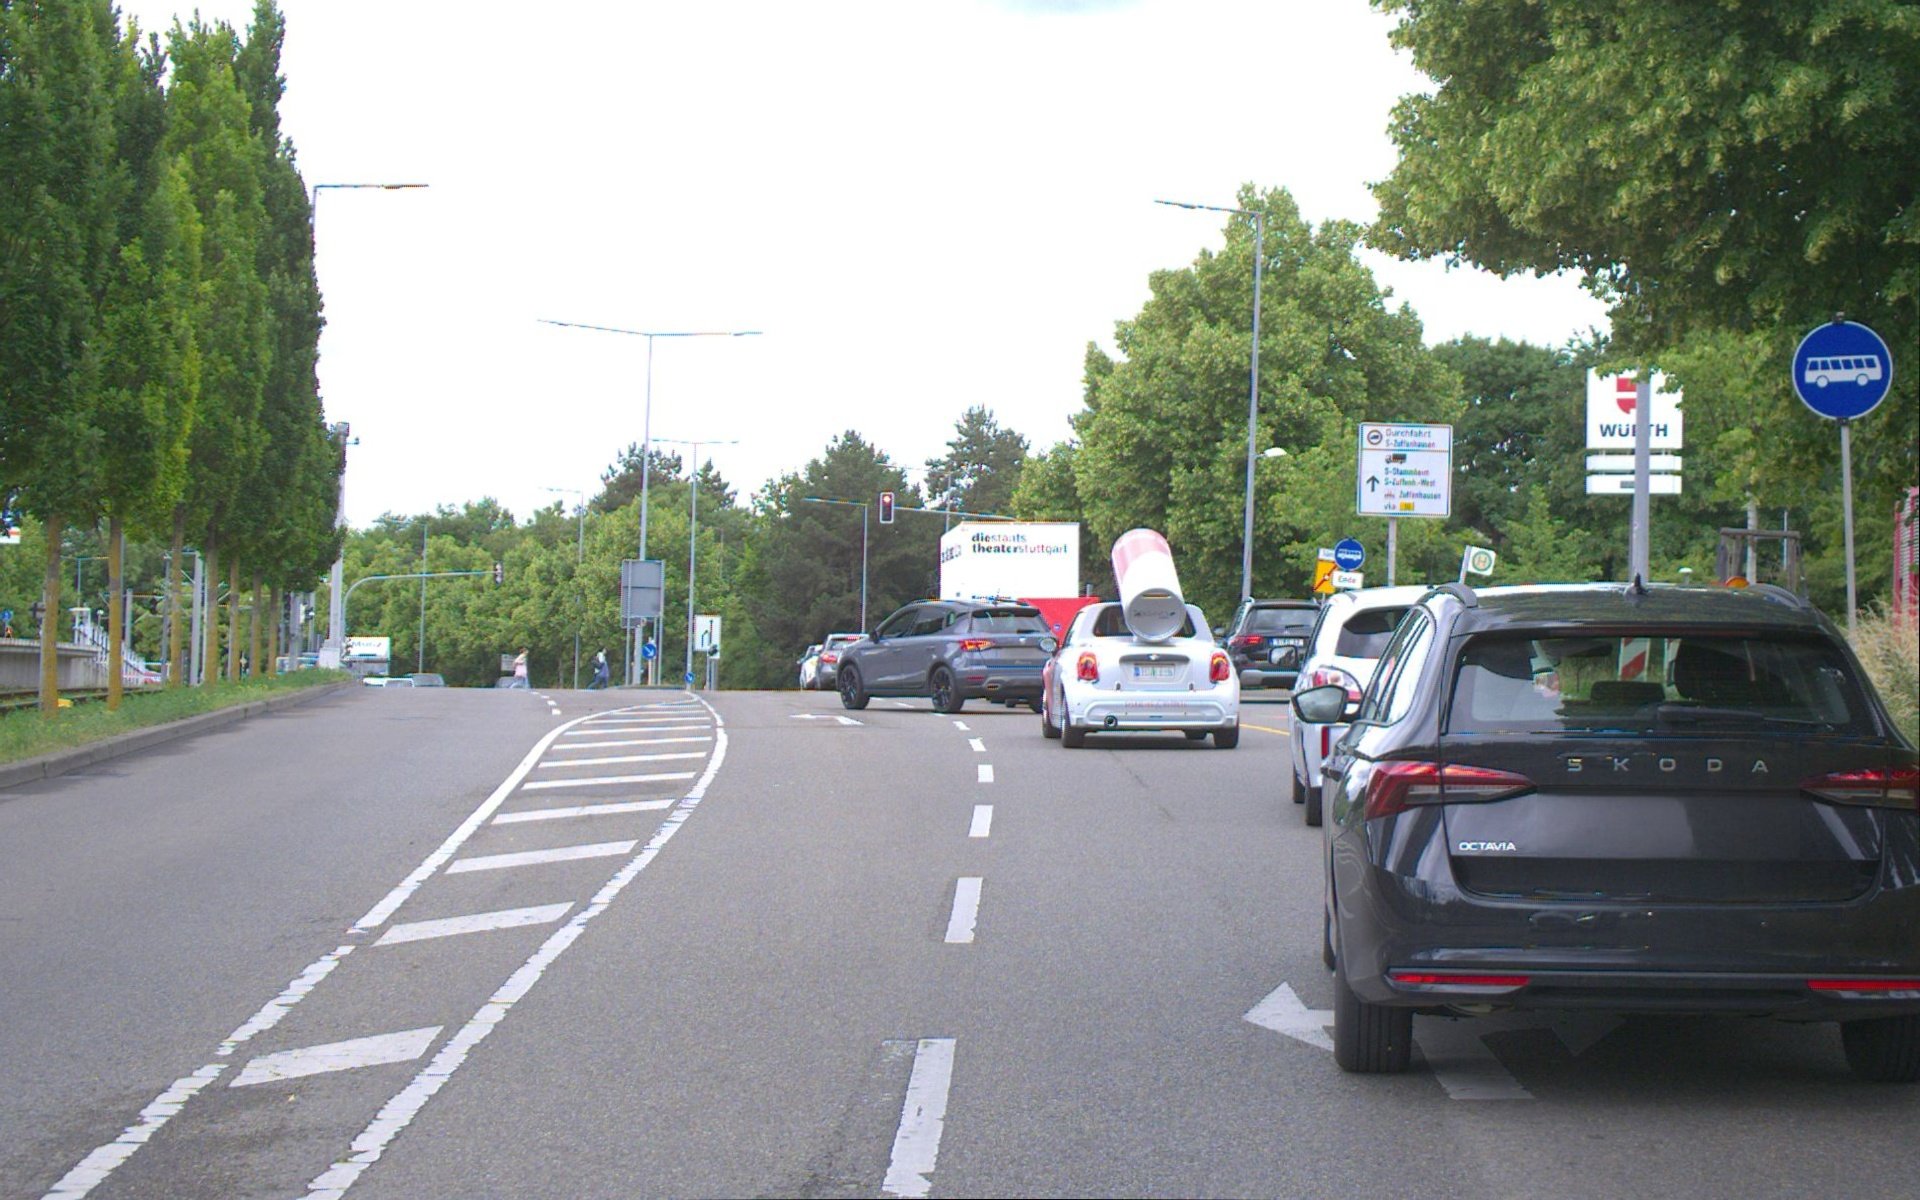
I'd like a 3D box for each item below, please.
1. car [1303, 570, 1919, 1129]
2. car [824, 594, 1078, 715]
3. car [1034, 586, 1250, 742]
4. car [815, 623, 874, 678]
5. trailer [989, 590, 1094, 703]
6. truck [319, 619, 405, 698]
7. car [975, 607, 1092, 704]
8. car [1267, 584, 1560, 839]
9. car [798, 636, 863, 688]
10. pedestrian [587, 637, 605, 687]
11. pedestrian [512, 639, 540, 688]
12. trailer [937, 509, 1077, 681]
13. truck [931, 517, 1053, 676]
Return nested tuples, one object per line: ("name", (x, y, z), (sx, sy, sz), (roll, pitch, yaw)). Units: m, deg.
("car", (2.082, 0.643, 11.275), (1.836, 1.427, 4.278), (1, 1, 5))
("car", (-0.172, 0.716, 46.844), (1.698, 1.481, 4.000), (1, 1, -29))
("car", (1.769, 0.633, 34.413), (1.718, 1.452, 3.697), (1, -1, -4))
("car", (-3.038, 1.316, 90.619), (1.525, 1.349, 3.491), (0, 1, -2))
("trailer", (1.171, 0.670, 50.437), (1.409, 1.588, 3.303), (0, -1, -1))
("truck", (-29.661, 2.858, 170.159), (2.659, 3.637, 9.505), (2, -1, -19))
("car", (1.119, 0.871, 54.336), (1.671, 1.443, 4.489), (1, -1, -1))
("car", (2.854, 0.651, 22.237), (1.623, 1.452, 3.688), (1, 1, 4))
("car", (-3.780, 1.821, 99.891), (1.721, 1.417, 4.356), (0, -2, -4))
("pedestrian", (-11.802, 2.012, 111.500), (0.586, 1.616, 0.423), (0, 1, -6))
("pedestrian", (-13.885, 2.024, 110.101), (0.863, 1.555, 0.518), (0, 1, -6))
("trailer", (0.985, -0.080, 78.107), (2.565, 3.693, 7.764), (0, -1, -4))
("truck", (0.728, -0.057, 82.062), (2.570, 3.693, 4.106), (0, -1, -4))
